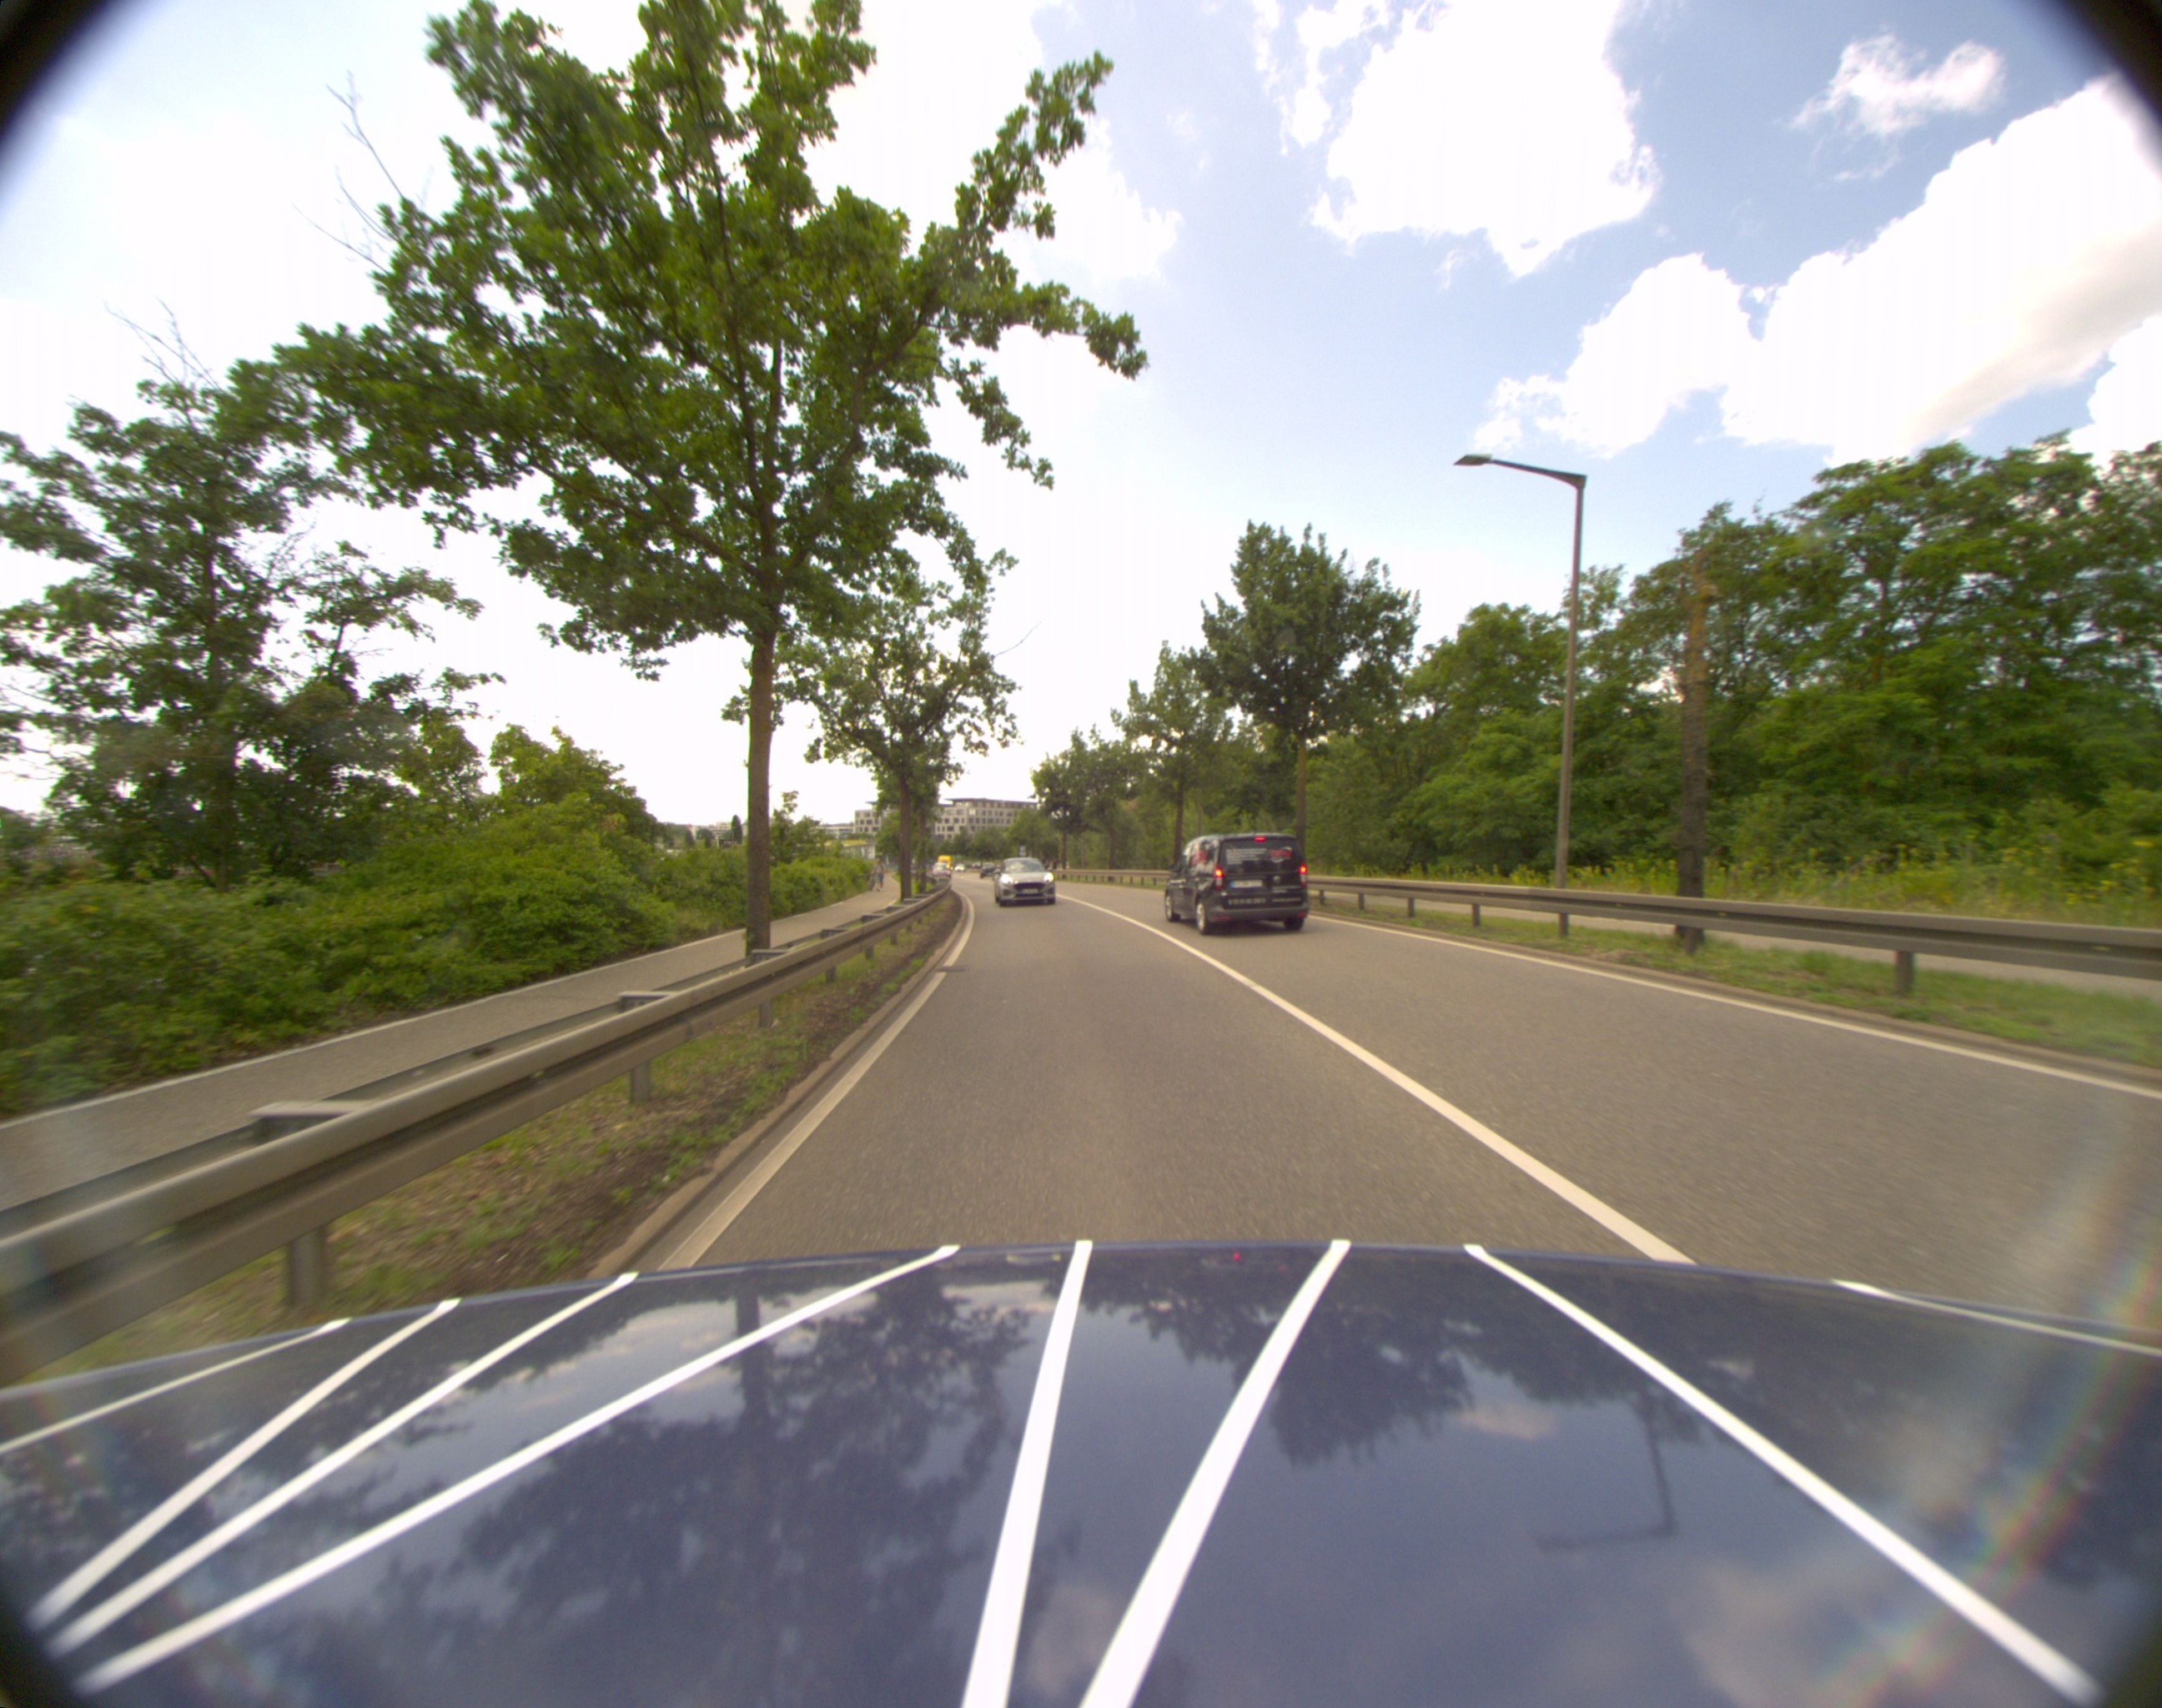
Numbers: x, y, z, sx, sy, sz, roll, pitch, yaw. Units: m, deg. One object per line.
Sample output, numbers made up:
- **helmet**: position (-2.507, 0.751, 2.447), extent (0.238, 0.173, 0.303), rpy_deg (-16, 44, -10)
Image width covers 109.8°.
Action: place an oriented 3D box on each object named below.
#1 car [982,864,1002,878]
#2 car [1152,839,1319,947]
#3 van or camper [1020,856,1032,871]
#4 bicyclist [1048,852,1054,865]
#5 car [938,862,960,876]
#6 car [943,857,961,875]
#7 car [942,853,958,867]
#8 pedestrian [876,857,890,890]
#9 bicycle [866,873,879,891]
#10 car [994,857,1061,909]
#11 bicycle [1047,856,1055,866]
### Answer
- **car**: position (-8.927, 1.689, 75.952), extent (1.598, 1.211, 3.787), rpy_deg (-5, 1, -11)
- **car**: position (2.780, 0.643, 14.719), extent (1.858, 1.699, 4.309), rpy_deg (-3, 0, -7)
- **van or camper**: position (-10.291, 1.822, 142.078), extent (1.999, 2.566, 5.981), rpy_deg (1, -1, -2)
- **bicyclist**: position (-3.533, 0.551, 88.860), extent (0.486, 1.543, 0.879), rpy_deg (1, 0, -13)
- **car**: position (-12.624, 1.412, 72.641), extent (1.849, 1.201, 3.995), rpy_deg (2, 0, -12)
- **car**: position (-15.740, 1.459, 92.382), extent (2.001, 2.002, 3.996), rpy_deg (3, 0, -11)
- **car**: position (-22.302, 0.966, 129.713), extent (1.999, 2.306, 4.885), rpy_deg (-2, 0, -2)
- **pedestrian**: position (-10.007, 0.982, 38.420), extent (0.659, 1.632, 1.053), rpy_deg (0, 0, -13)
- **bicycle**: position (-10.554, 1.402, 38.465), extent (0.558, 0.864, 1.823), rpy_deg (1, -1, -13)
- **car**: position (-1.887, 0.908, 25.590), extent (1.829, 1.516, 3.997), rpy_deg (-3, 0, -9)
- **bicycle**: position (-3.537, 0.813, 88.914), extent (0.558, 1.057, 1.752), rpy_deg (0, 0, -13)
